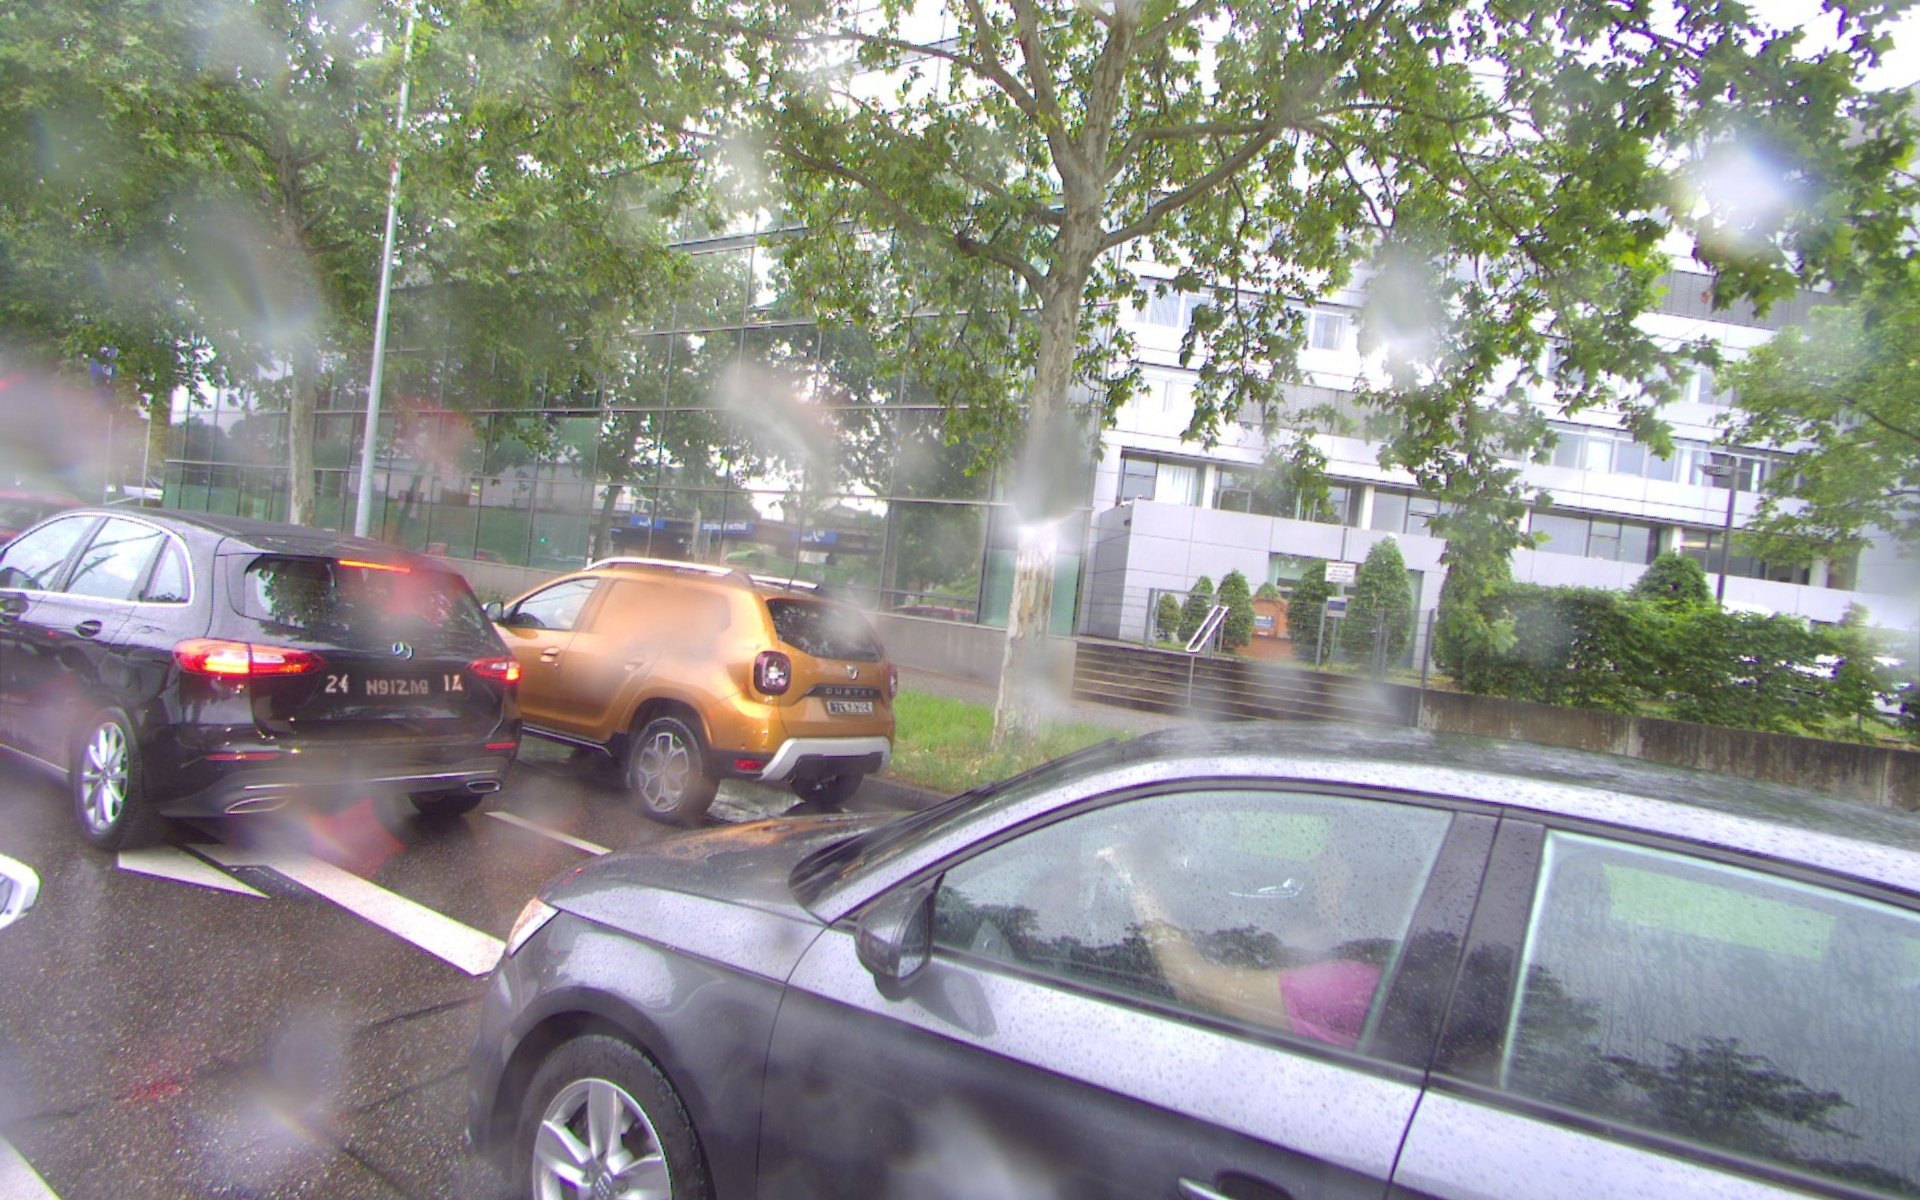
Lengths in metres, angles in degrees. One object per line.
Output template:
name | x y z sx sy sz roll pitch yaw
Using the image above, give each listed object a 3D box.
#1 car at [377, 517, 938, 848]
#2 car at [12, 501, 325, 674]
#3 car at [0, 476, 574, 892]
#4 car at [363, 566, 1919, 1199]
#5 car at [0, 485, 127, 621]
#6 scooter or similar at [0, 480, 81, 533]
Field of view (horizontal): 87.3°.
car | -2.429 0.496 7.749 4.079 1.704 1.679 8 -2 32
car | -8.954 -0.157 11.347 3.332 1.480 1.572 7 -1 31
car | -4.344 0.249 5.760 4.022 1.573 1.751 7 -1 31
car | 0.692 0.899 2.093 3.718 1.445 1.679 7 -1 31
car | -14.400 -0.809 14.959 4.201 1.714 1.714 6 -2 32
scooter or similar | -54.524 -5.525 58.149 5.228 2.476 1.893 7 0 -9
